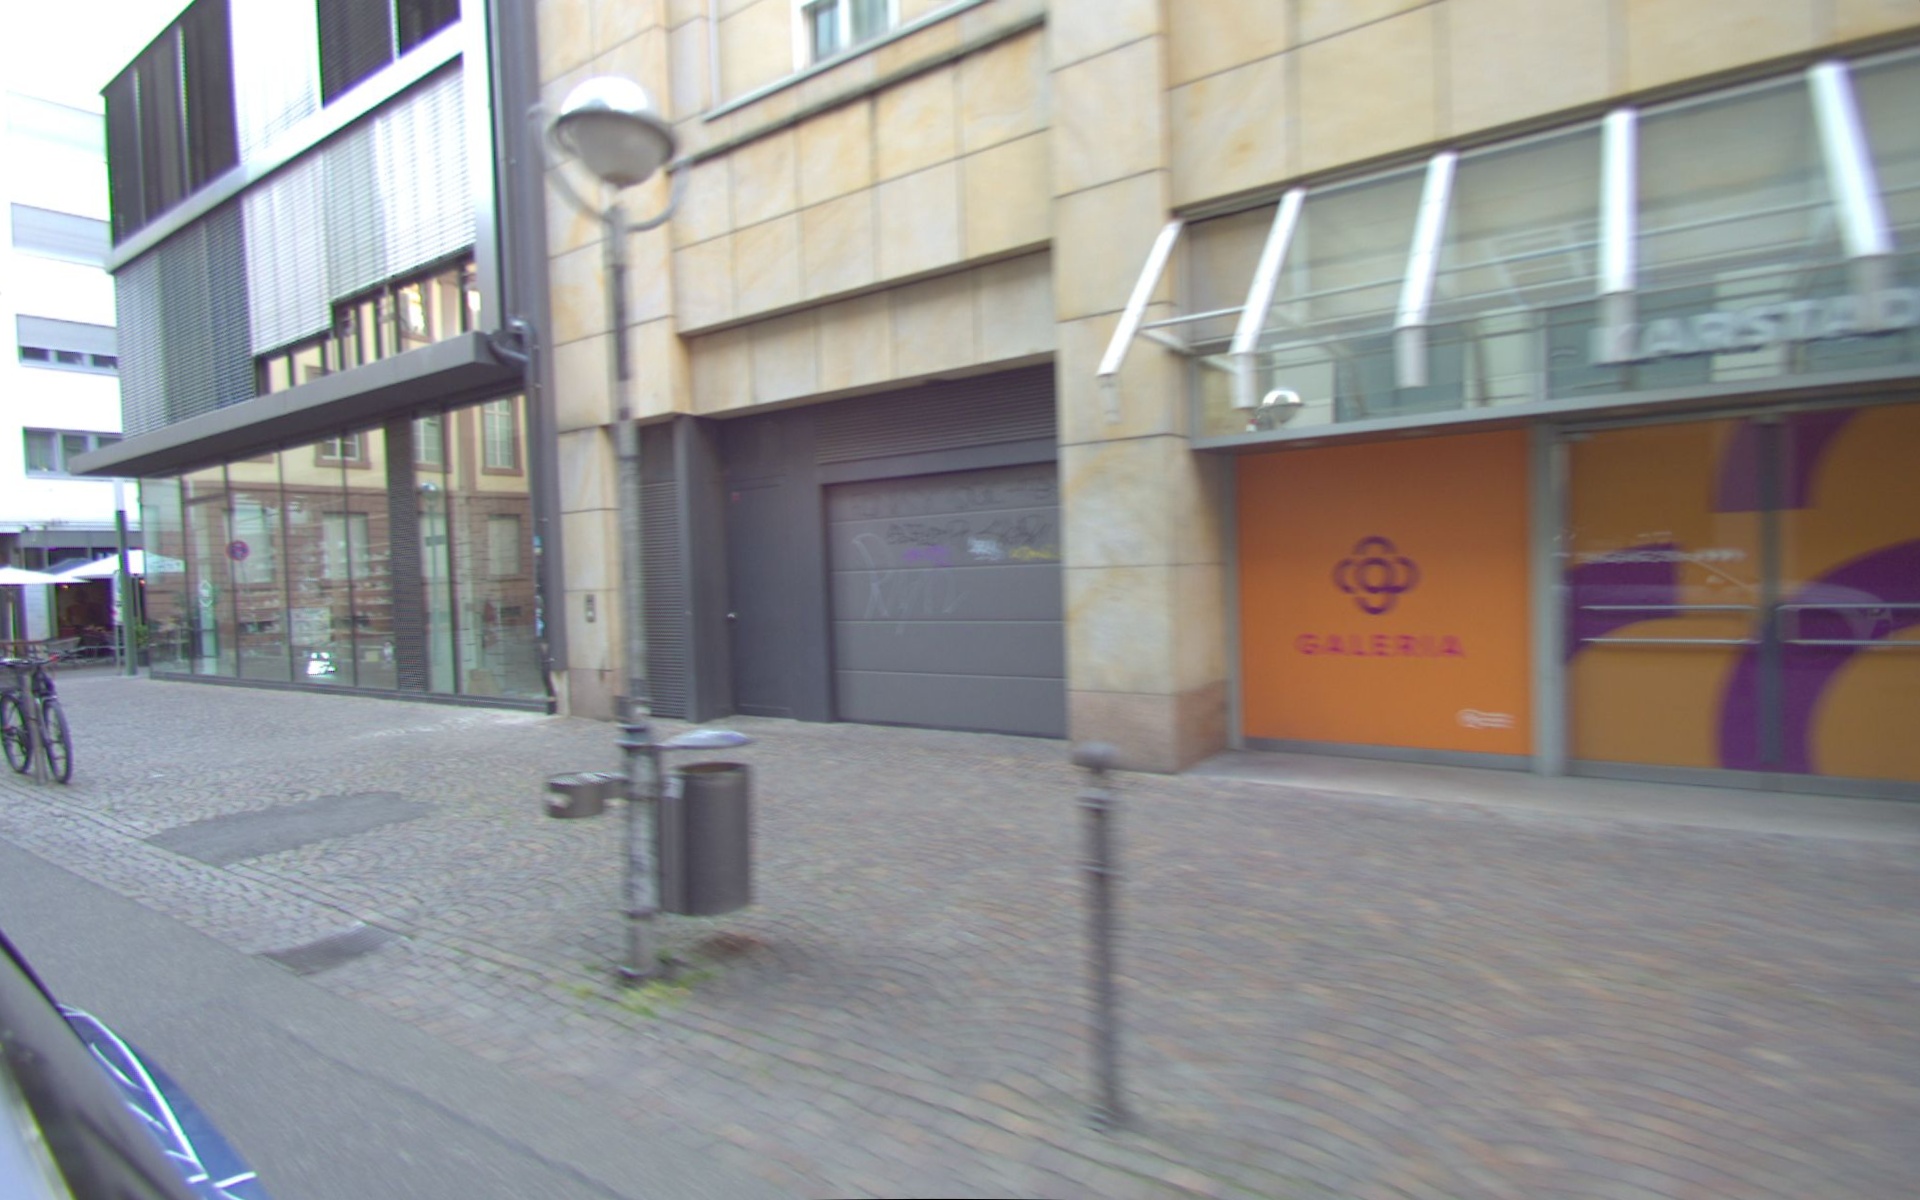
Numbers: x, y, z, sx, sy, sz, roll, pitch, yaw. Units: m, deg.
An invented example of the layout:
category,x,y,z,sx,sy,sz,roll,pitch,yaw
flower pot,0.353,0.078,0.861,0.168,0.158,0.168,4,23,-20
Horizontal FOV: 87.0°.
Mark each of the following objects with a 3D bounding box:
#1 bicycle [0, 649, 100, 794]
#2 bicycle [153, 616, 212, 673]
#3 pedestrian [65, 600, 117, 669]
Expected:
category,x,y,z,sx,sy,sz,roll,pitch,yaw
bicycle,-8.222,1.019,8.892,1.924,1.141,0.407,-1,1,32
bicycle,-16.687,0.964,21.706,1.698,1.145,0.461,-4,0,35
pedestrian,-21.906,0.862,25.511,0.789,1.661,0.718,-2,1,30
